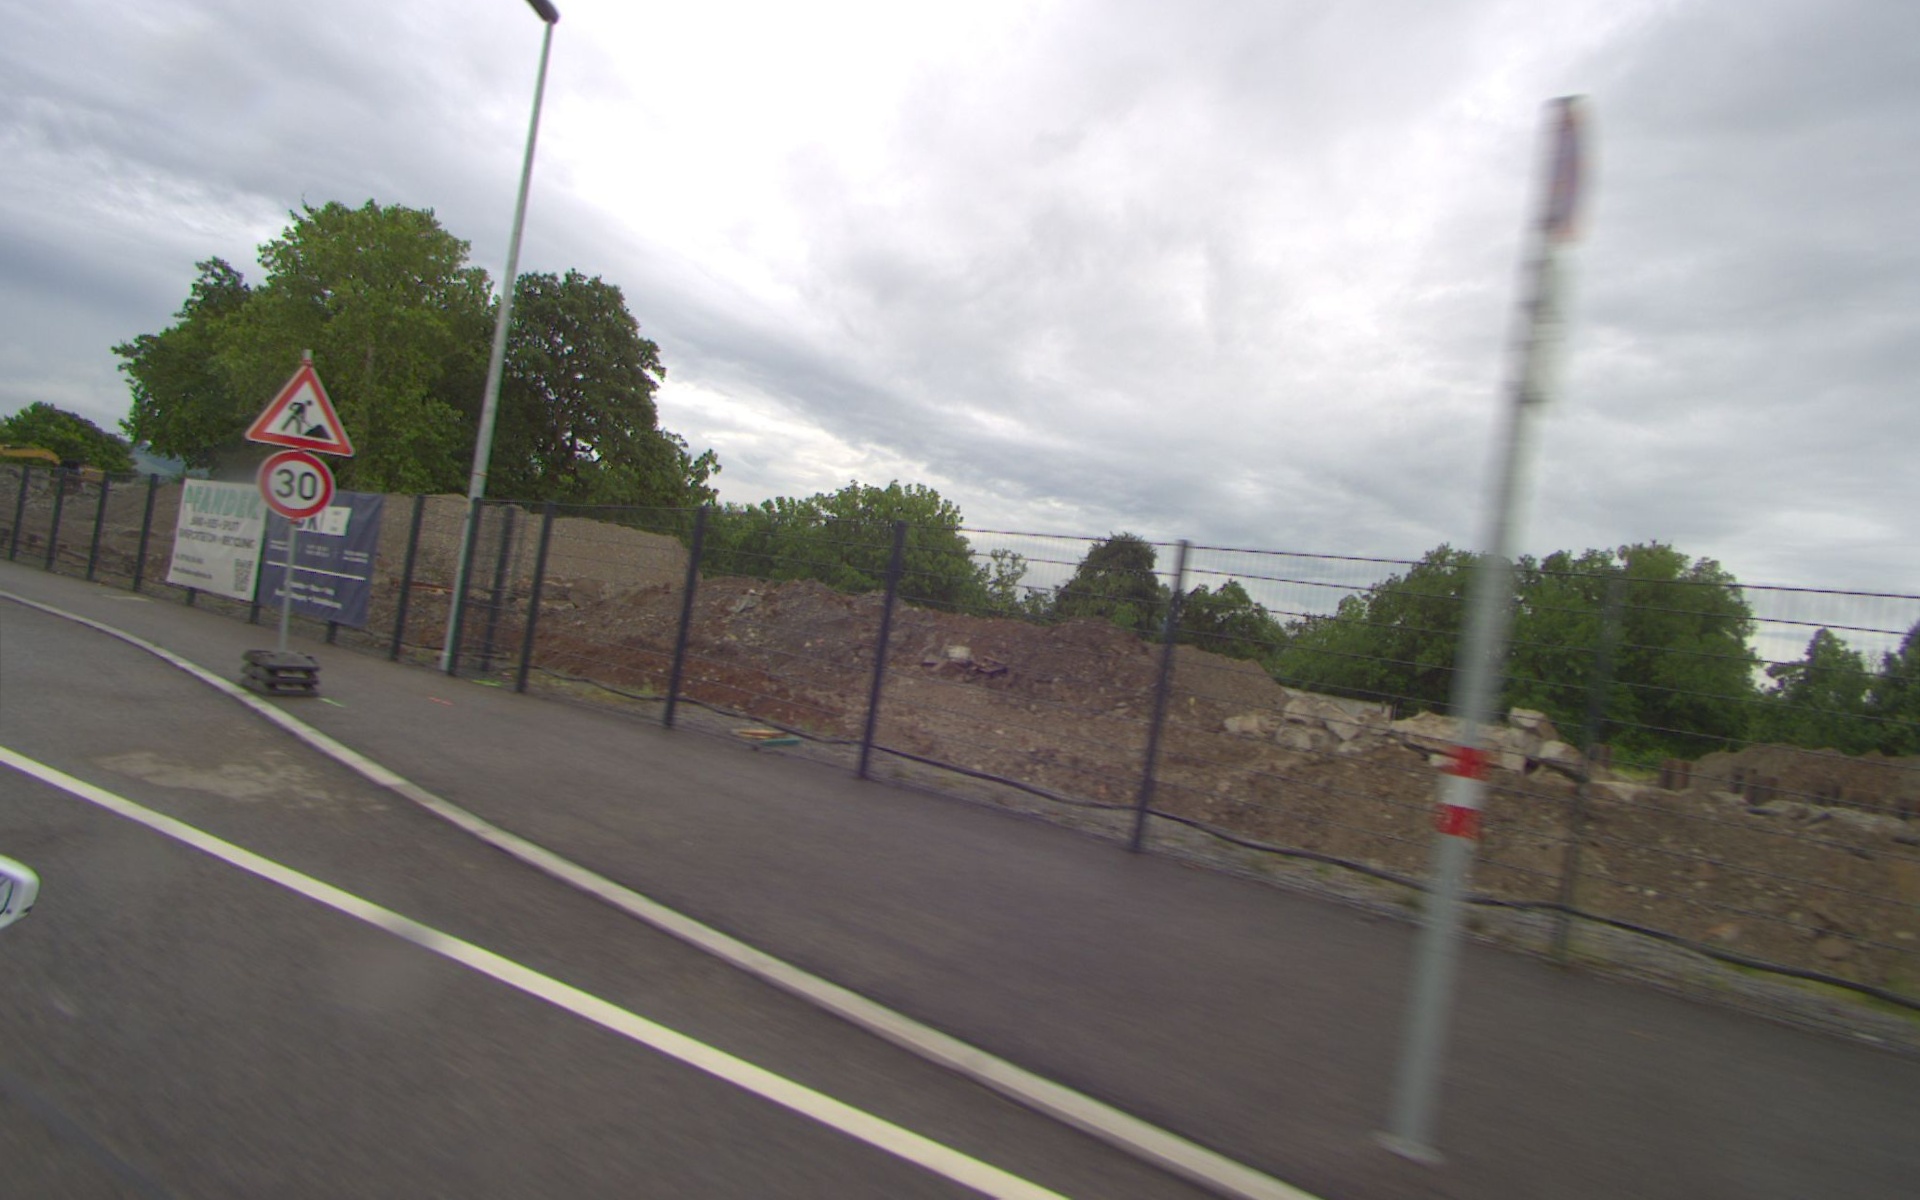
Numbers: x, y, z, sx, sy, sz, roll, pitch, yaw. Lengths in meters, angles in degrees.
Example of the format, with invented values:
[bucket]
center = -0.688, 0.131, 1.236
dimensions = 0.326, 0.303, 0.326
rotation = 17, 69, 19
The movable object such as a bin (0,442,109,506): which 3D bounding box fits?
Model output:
[movable object such as a bin]
center = -113.363, -15.594, 124.648
dimensions = 3.441, 6.067, 11.222
rotation = 6, -1, 40
